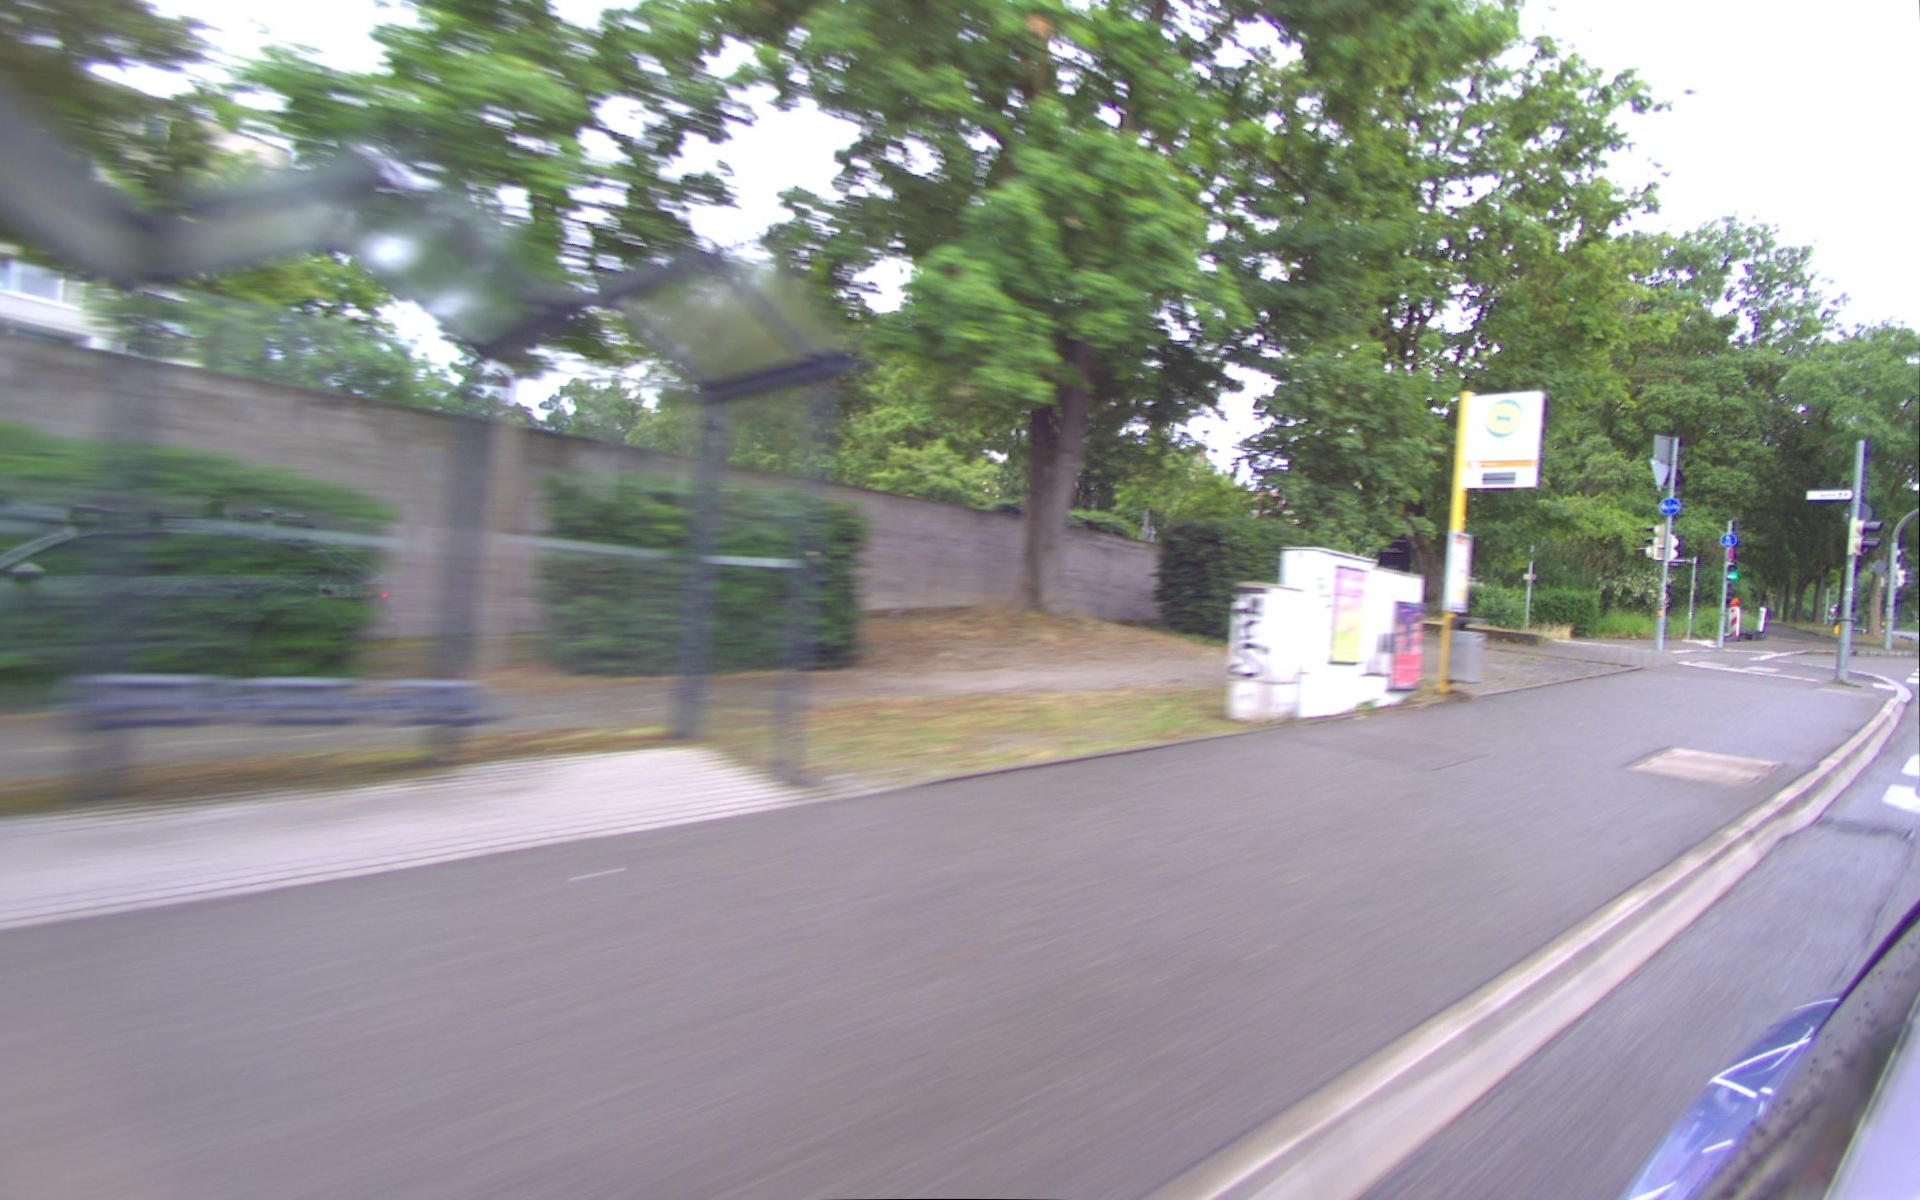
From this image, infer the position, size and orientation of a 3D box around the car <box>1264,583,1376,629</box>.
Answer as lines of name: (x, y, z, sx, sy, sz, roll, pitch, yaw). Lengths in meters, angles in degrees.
car: (14.257, 0.210, 40.150, 3.873, 1.566, 1.862, 4, 2, 30)
